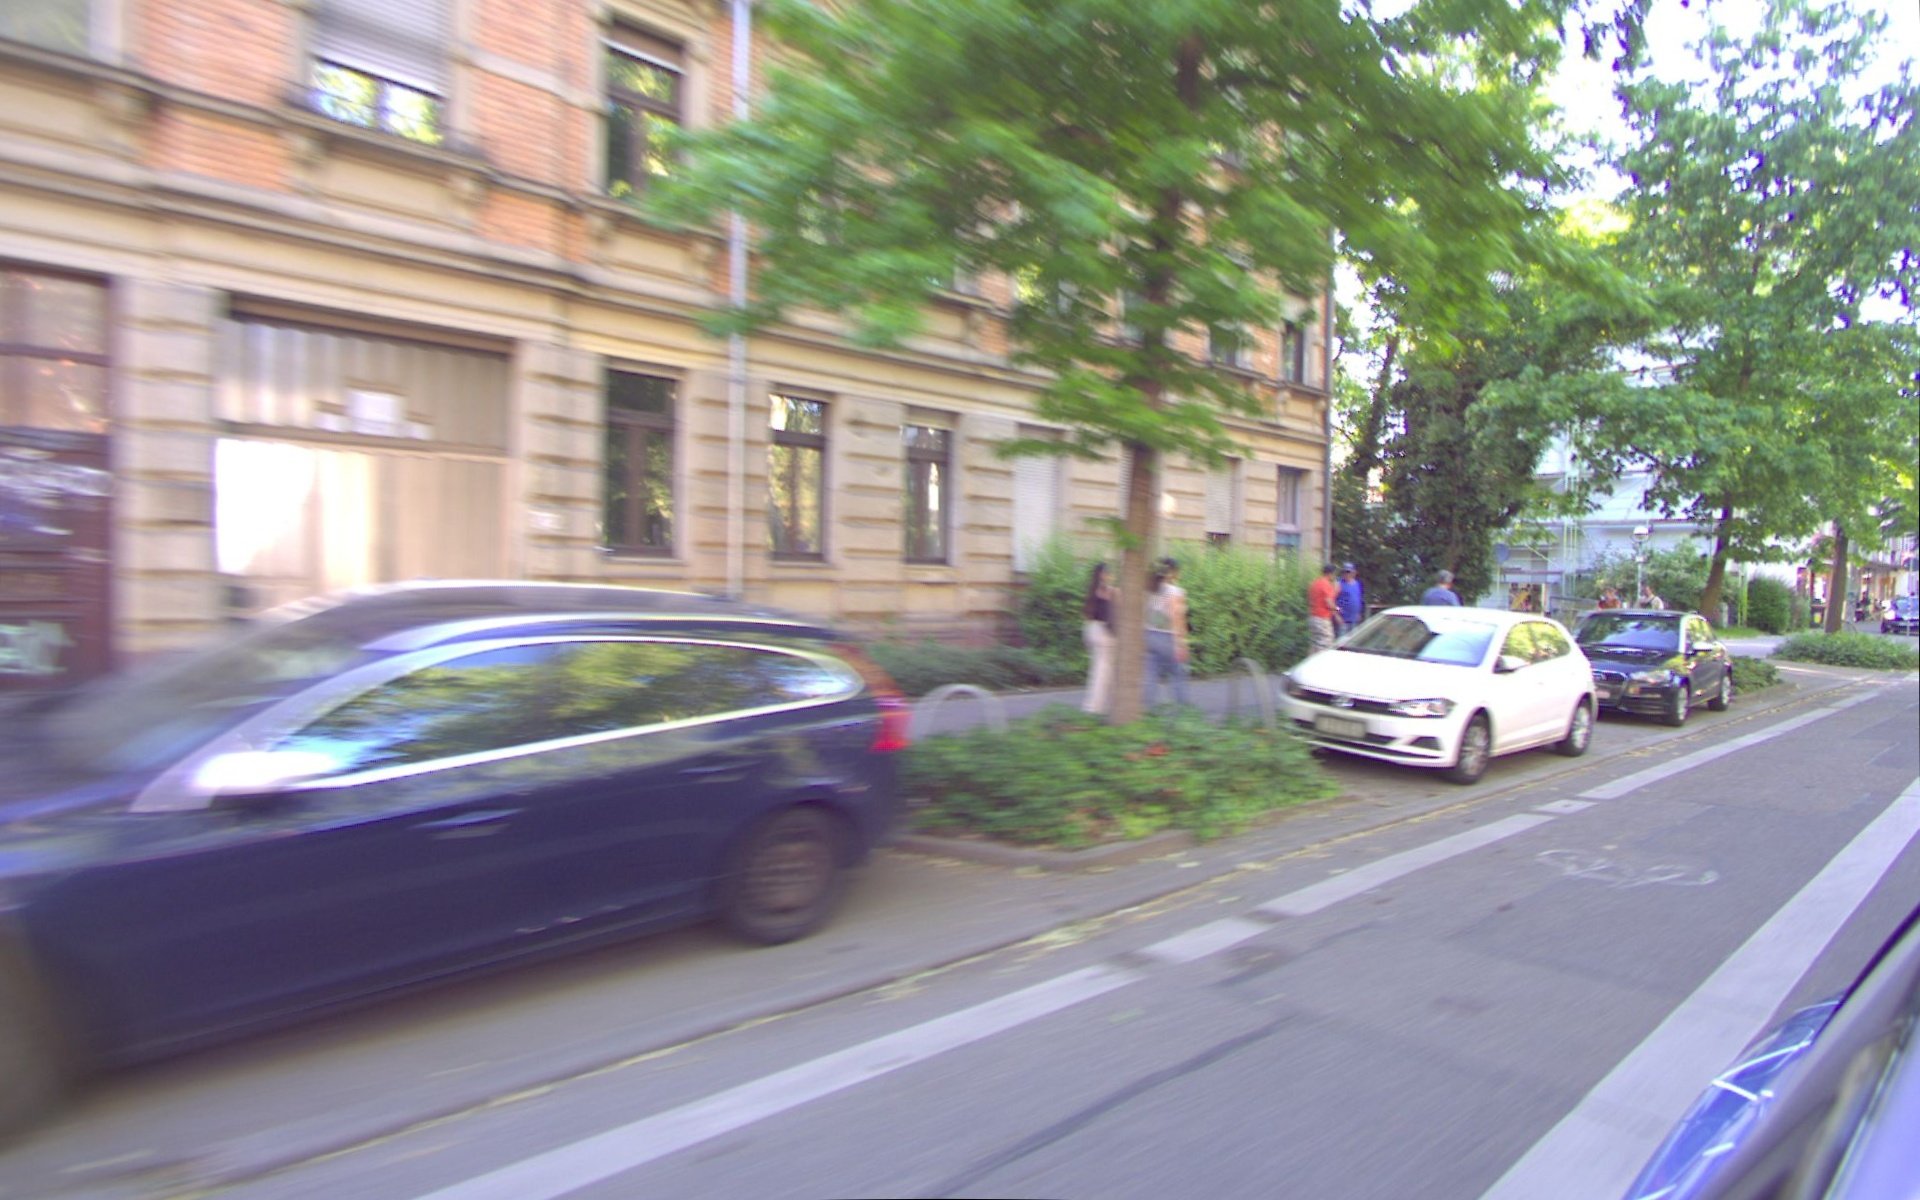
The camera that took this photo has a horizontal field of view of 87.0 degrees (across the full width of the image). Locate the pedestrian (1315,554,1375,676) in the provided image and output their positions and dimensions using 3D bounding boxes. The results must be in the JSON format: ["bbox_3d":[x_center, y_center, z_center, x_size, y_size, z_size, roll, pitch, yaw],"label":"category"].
[{"bbox_3d":[5.915,0.219,15.538,0.716,1.815,0.599,0,0,-43],"label":"pedestrian"}]

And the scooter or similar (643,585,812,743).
[{"bbox_3d":[-1.993,0.504,8.742,1.311,1.262,0.577,0,0,-40],"label":"scooter or similar"}]

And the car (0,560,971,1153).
[{"bbox_3d":[-2.261,0.656,4.144,4.516,1.485,1.887,0,4,-43],"label":"car"}]

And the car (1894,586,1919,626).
[{"bbox_3d":[42.043,0.297,43.762,4.361,1.641,1.767,1,3,-39],"label":"car"}]

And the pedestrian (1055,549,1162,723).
[{"bbox_3d":[1.556,0.347,10.604,0.839,1.731,0.729,0,0,-33],"label":"pedestrian"}]

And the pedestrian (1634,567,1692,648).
[{"bbox_3d":[16.220,0.164,23.354,0.836,1.815,0.729,1,2,-30],"label":"pedestrian"}]

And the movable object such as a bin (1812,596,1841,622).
[{"bbox_3d":[39.301,0.389,45.924,0.685,1.124,0.882,0,3,-42],"label":"movable object such as a bin"}]

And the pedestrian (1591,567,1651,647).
[{"bbox_3d":[15.537,0.155,23.794,0.948,1.815,0.729,1,2,-30],"label":"pedestrian"}]

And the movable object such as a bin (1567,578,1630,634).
[{"bbox_3d":[14.629,0.129,23.187,1.278,1.217,0.642,1,3,-30],"label":"movable object such as a bin"}]

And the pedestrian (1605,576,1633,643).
[{"bbox_3d":[17.470,0.237,26.840,0.615,1.747,0.547,0,0,34],"label":"pedestrian"}]

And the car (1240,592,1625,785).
[{"bbox_3d":[4.746,0.678,9.936,4.035,1.384,1.888,0,4,-41],"label":"car"}]

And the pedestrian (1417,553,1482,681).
[{"bbox_3d":[7.109,0.240,14.724,0.589,1.815,0.728,0,0,1],"label":"pedestrian"}]

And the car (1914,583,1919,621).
[{"bbox_3d":[51.236,0.181,52.417,4.118,1.919,1.999,0,3,-39],"label":"car"}]

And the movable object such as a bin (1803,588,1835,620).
[{"bbox_3d":[40.528,0.174,47.772,0.811,1.414,1.001,0,3,-42],"label":"movable object such as a bin"}]

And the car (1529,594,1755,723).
[{"bbox_3d":[9.517,0.688,14.019,3.777,1.429,1.676,-1,4,-42],"label":"car"}]

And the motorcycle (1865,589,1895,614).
[{"bbox_3d":[53.536,0.100,58.898,2.605,1.332,0.954,2,5,-43],"label":"motorcycle"}]

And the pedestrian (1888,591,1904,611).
[{"bbox_3d":[60.045,0.066,64.920,0.677,1.220,0.640,0,0,39],"label":"pedestrian"}]

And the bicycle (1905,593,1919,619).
[{"bbox_3d":[47.661,0.352,49.291,1.011,1.224,2.209,0,3,-40],"label":"bicycle"}]

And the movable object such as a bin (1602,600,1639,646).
[{"bbox_3d":[17.003,0.569,26.055,0.665,1.140,0.942,1,1,42],"label":"movable object such as a bin"}]

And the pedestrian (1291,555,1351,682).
[{"bbox_3d":[5.319,0.259,14.905,0.598,1.815,0.717,0,0,42],"label":"pedestrian"}]

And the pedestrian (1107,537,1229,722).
[{"bbox_3d":[2.043,0.265,9.935,0.938,1.714,0.728,0,0,-35],"label":"pedestrian"}]
